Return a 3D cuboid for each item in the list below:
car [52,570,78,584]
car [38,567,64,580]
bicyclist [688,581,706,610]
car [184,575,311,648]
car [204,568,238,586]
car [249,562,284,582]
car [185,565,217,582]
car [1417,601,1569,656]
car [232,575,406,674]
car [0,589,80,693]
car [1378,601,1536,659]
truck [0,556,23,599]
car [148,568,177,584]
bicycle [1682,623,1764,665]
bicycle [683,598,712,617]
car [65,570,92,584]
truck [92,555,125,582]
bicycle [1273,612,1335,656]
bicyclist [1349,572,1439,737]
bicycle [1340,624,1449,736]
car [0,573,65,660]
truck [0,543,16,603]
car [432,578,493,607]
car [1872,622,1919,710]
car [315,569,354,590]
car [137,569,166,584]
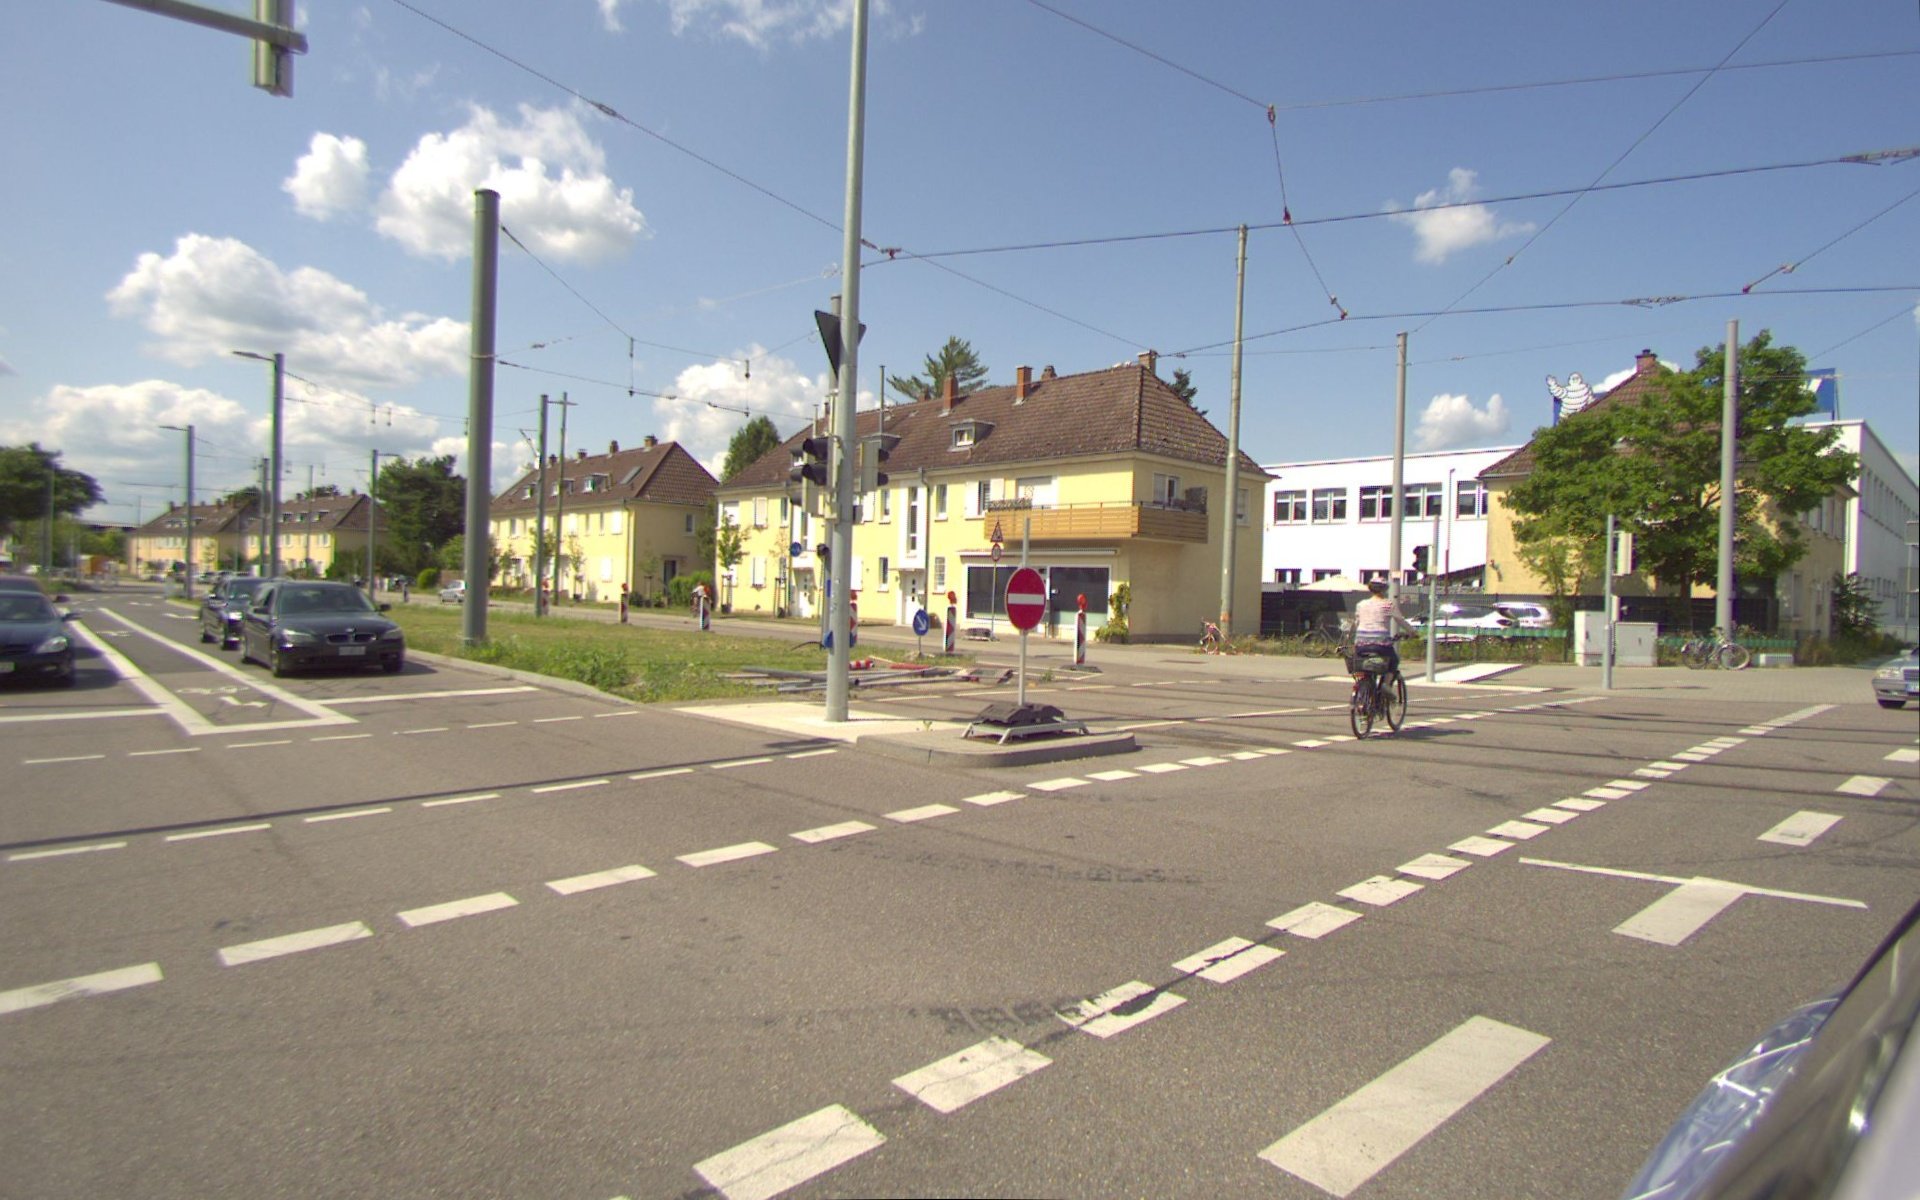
[{"bbox_3d":[-121.034,-3.086,136.861,3.978,1.746,1.973,0,0,38],"label":"car"},{"bbox_3d":[-127.820,-3.670,142.274,3.976,1.746,1.974,0,0,37],"label":"car"},{"bbox_3d":[-11.618,-0.209,44.694,0.501,1.249,0.577,0,1,-45],"label":"bicyclist"},{"bbox_3d":[-15.699,0.184,22.205,1.710,1.345,4.321,0,2,-43],"label":"car"},{"bbox_3d":[-76.683,-2.403,105.035,3.982,1.746,1.971,0,0,41],"label":"car"},{"bbox_3d":[-66.331,-2.661,96.765,3.986,1.746,1.969,0,0,43],"label":"car"},{"bbox_3d":[-82.098,-2.816,109.520,3.982,1.746,1.971,0,0,41],"label":"car"},{"bbox_3d":[17.539,0.883,33.402,4.106,1.617,1.772,1,0,44],"label":"car"},{"bbox_3d":[-10.849,0.317,16.997,1.710,1.345,4.321,0,2,-43],"label":"car"},{"bbox_3d":[-13.793,0.523,14.460,1.710,1.325,4.319,0,0,-43],"label":"car"},{"bbox_3d":[15.545,0.888,31.791,4.106,1.617,1.772,1,0,44],"label":"car"},{"bbox_3d":[-81.417,-1.841,86.226,2.340,3.582,8.512,0,0,-43],"label":"truck"},{"bbox_3d":[-92.252,-2.807,117.052,3.982,1.746,1.971,0,0,41],"label":"car"},{"bbox_3d":[19.269,1.103,25.569,1.722,1.031,0.463,0,0,0],"label":"bicycle"},{"bbox_3d":[-11.585,0.319,44.645,0.497,0.791,1.580,0,1,-45],"label":"bicycle"},{"bbox_3d":[-115.303,-3.009,132.326,3.978,1.746,1.973,0,0,38],"label":"car"},{"bbox_3d":[-108.619,-4.003,129.106,5.300,3.267,1.975,0,0,35],"label":"truck"},{"bbox_3d":[9.249,0.892,27.233,1.555,1.152,0.378,0,0,22],"label":"bicycle"},{"bbox_3d":[4.887,0.575,11.377,0.650,1.760,0.969,-1,-1,43],"label":"bicyclist"},{"bbox_3d":[4.910,0.855,11.401,0.650,1.132,1.563,0,0,42],"label":"bicycle"},{"bbox_3d":[-18.026,0.281,19.005,1.710,1.492,4.319,0,0,-43],"label":"car"},{"bbox_3d":[-64.615,-1.745,67.398,2.469,3.874,7.625,0,0,-43],"label":"truck"},{"bbox_3d":[-27.723,-0.422,56.366,4.003,1.421,1.708,2,-2,44],"label":"car"},{"bbox_3d":[17.849,1.093,17.329,4.370,1.415,1.729,0,0,-25],"label":"car"},{"bbox_3d":[-54.686,-1.799,88.405,3.986,1.746,1.969,0,0,43],"label":"car"},{"bbox_3d":[-96.492,-2.804,120.792,3.982,1.746,1.971,0,0,41],"label":"car"}]
